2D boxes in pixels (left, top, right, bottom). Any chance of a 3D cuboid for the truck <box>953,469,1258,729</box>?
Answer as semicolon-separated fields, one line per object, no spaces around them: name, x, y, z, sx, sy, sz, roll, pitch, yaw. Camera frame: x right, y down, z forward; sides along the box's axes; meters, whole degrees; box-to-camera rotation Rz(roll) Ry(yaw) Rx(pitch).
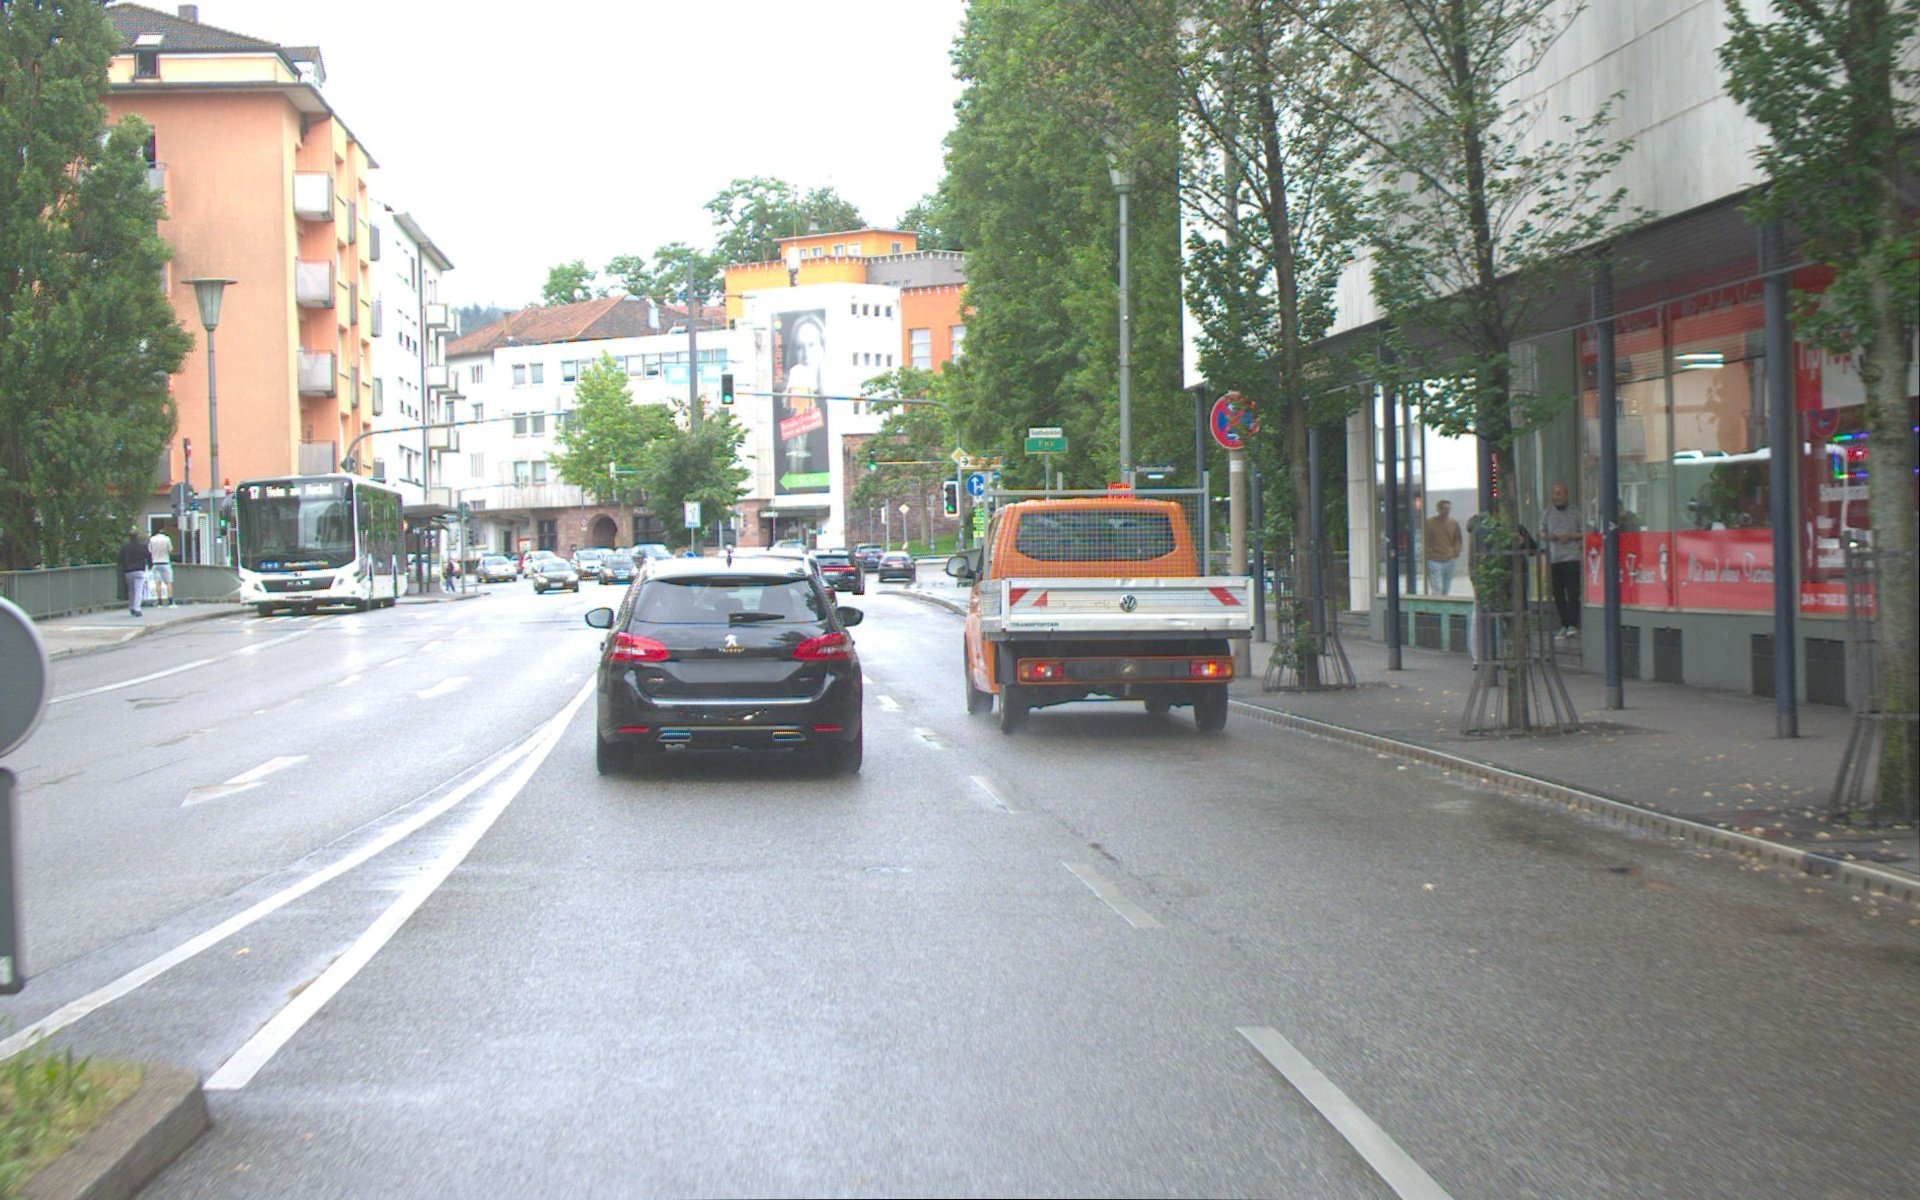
truck;1.127;-0.004;29.114;2.121;2.018;4.716;0;0;-3

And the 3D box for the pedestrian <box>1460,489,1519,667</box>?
pedestrian;5.459;-0.228;35.463;0.536;1.813;0.534;-1;1;5

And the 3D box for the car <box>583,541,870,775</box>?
car;-1.547;0.374;24.039;1.795;1.478;4.000;1;0;-1

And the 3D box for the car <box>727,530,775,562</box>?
car;-11.433;-2.926;187.822;1.993;1.678;4.001;-1;1;-12

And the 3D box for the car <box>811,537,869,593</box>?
car;-3.765;-1.071;107.134;1.644;1.559;3.600;2;-2;-4

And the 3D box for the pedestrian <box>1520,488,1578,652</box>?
pedestrian;6.236;-0.322;36.423;0.536;1.713;0.534;-1;1;6

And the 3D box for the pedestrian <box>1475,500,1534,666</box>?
pedestrian;5.713;-0.181;36.059;0.536;1.713;0.534;-1;1;5

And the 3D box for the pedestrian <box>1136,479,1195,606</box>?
pedestrian;2.986;-0.836;50.011;0.698;1.795;0.607;-2;1;-4

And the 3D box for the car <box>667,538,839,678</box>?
car;-2.307;0.068;39.225;1.795;1.478;4.000;-1;1;-2

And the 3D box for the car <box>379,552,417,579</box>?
car;-30.473;-1.871;186.552;1.664;1.395;3.877;-2;1;-4

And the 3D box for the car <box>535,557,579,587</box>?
car;-18.259;-1.287;155.741;1.791;1.320;4.407;-1;1;-4

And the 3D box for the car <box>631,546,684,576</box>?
car;-17.209;-2.203;195.358;1.644;1.559;3.600;3;-2;-28

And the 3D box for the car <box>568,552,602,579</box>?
car;-20.296;-1.857;186.076;1.664;1.395;3.877;-2;1;-4

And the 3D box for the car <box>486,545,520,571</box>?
car;-25.655;-2.333;193.125;1.664;1.395;3.877;-2;1;-4

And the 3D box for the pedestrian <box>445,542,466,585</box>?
pedestrian;-24.002;-1.739;163.521;0.726;2.007;0.657;3;-2;-37

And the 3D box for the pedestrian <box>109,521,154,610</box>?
pedestrian;-16.885;-0.701;70.096;0.698;1.788;0.958;0;0;-1

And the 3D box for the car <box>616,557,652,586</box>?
car;-16.191;-1.411;170.914;1.664;1.395;3.877;-2;1;-4

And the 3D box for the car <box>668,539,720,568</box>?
car;-15.410;-2.678;198.920;1.644;1.559;3.600;3;-2;-28

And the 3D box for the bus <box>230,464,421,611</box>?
bus;-14.294;-1.542;78.421;2.744;3.065;12.239;-1;2;-3

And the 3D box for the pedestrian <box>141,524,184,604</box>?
pedestrian;-17.917;-0.800;77.227;0.797;1.788;0.812;0;0;-2
